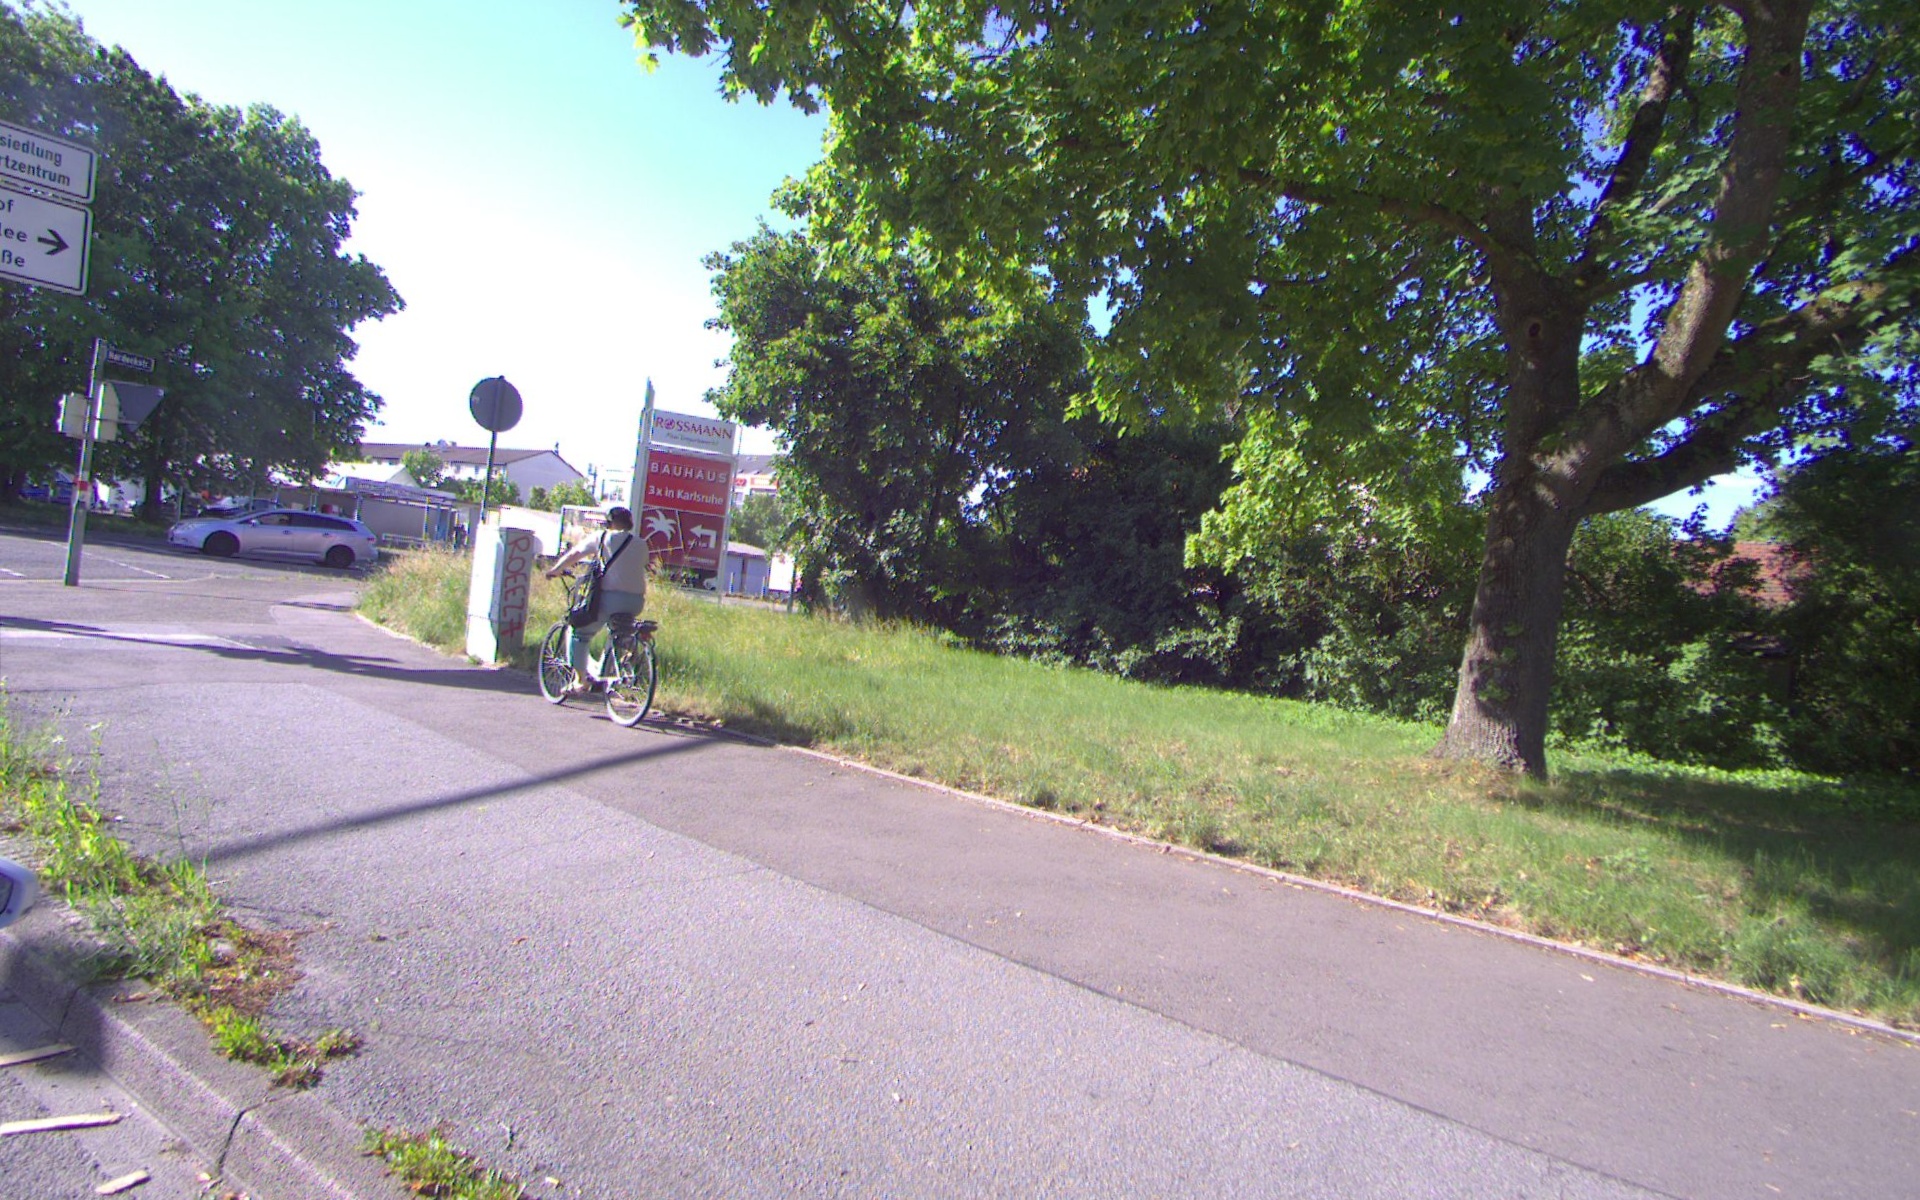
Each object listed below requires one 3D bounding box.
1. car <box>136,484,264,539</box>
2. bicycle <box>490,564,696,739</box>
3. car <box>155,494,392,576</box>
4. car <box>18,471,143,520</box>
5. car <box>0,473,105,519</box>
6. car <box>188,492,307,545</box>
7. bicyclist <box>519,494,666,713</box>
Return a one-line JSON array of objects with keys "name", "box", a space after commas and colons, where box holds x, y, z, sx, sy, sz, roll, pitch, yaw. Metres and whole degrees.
[{"name": "car", "box": [-32.341, -3.737, 42.969, 1.962, 1.772, 4.000, 7, 1, 9]}, {"name": "bicycle", "box": [-2.960, 0.357, 7.998, 1.959, 1.112, 0.577, 7, 3, 40]}, {"name": "car", "box": [-18.643, -1.732, 27.523, 1.973, 1.504, 4.994, 7, 0, 43]}, {"name": "car", "box": [-39.175, -4.625, 44.928, 1.712, 1.537, 3.902, 7, 0, 9]}, {"name": "car", "box": [-41.986, -4.766, 46.152, 1.712, 1.537, 3.902, 7, 0, 9]}, {"name": "car", "box": [-30.292, -3.425, 42.913, 1.712, 1.701, 4.001, 7, 0, 9]}, {"name": "bicyclist", "box": [-2.926, 0.011, 7.985, 0.983, 1.602, 0.577, 8, 3, 40]}]
